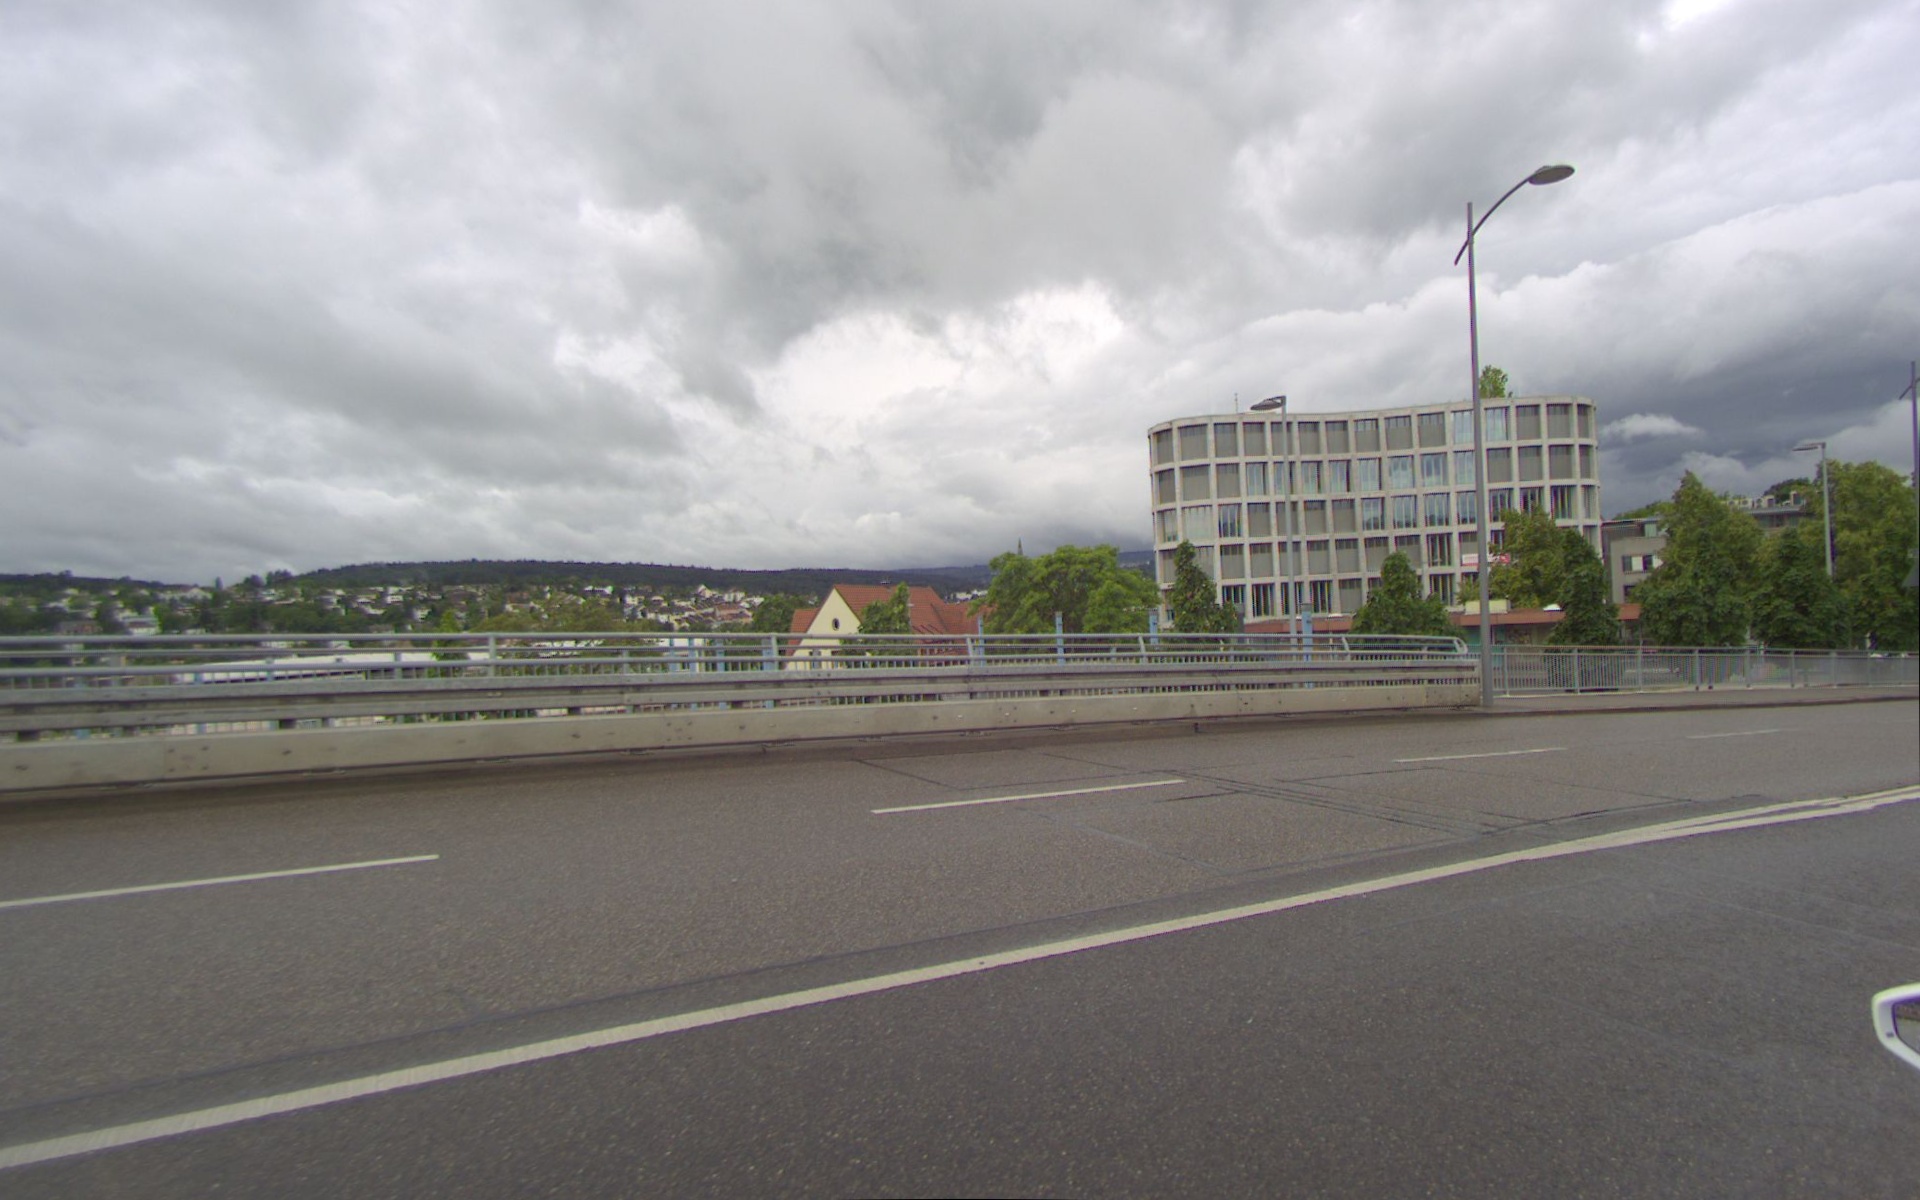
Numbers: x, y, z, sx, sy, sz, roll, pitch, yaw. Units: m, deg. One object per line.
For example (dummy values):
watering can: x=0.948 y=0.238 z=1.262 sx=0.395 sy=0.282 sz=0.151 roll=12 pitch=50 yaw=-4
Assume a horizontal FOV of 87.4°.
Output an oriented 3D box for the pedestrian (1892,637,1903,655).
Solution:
pedestrian: x=45.814 y=2.235 z=49.080 sx=0.294 sy=0.885 sz=0.300 roll=-2 pitch=-1 yaw=-25

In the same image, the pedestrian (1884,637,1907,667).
pedestrian: x=45.766 y=2.523 z=49.145 sx=0.523 sy=1.427 sz=0.646 roll=-2 pitch=-1 yaw=-24
